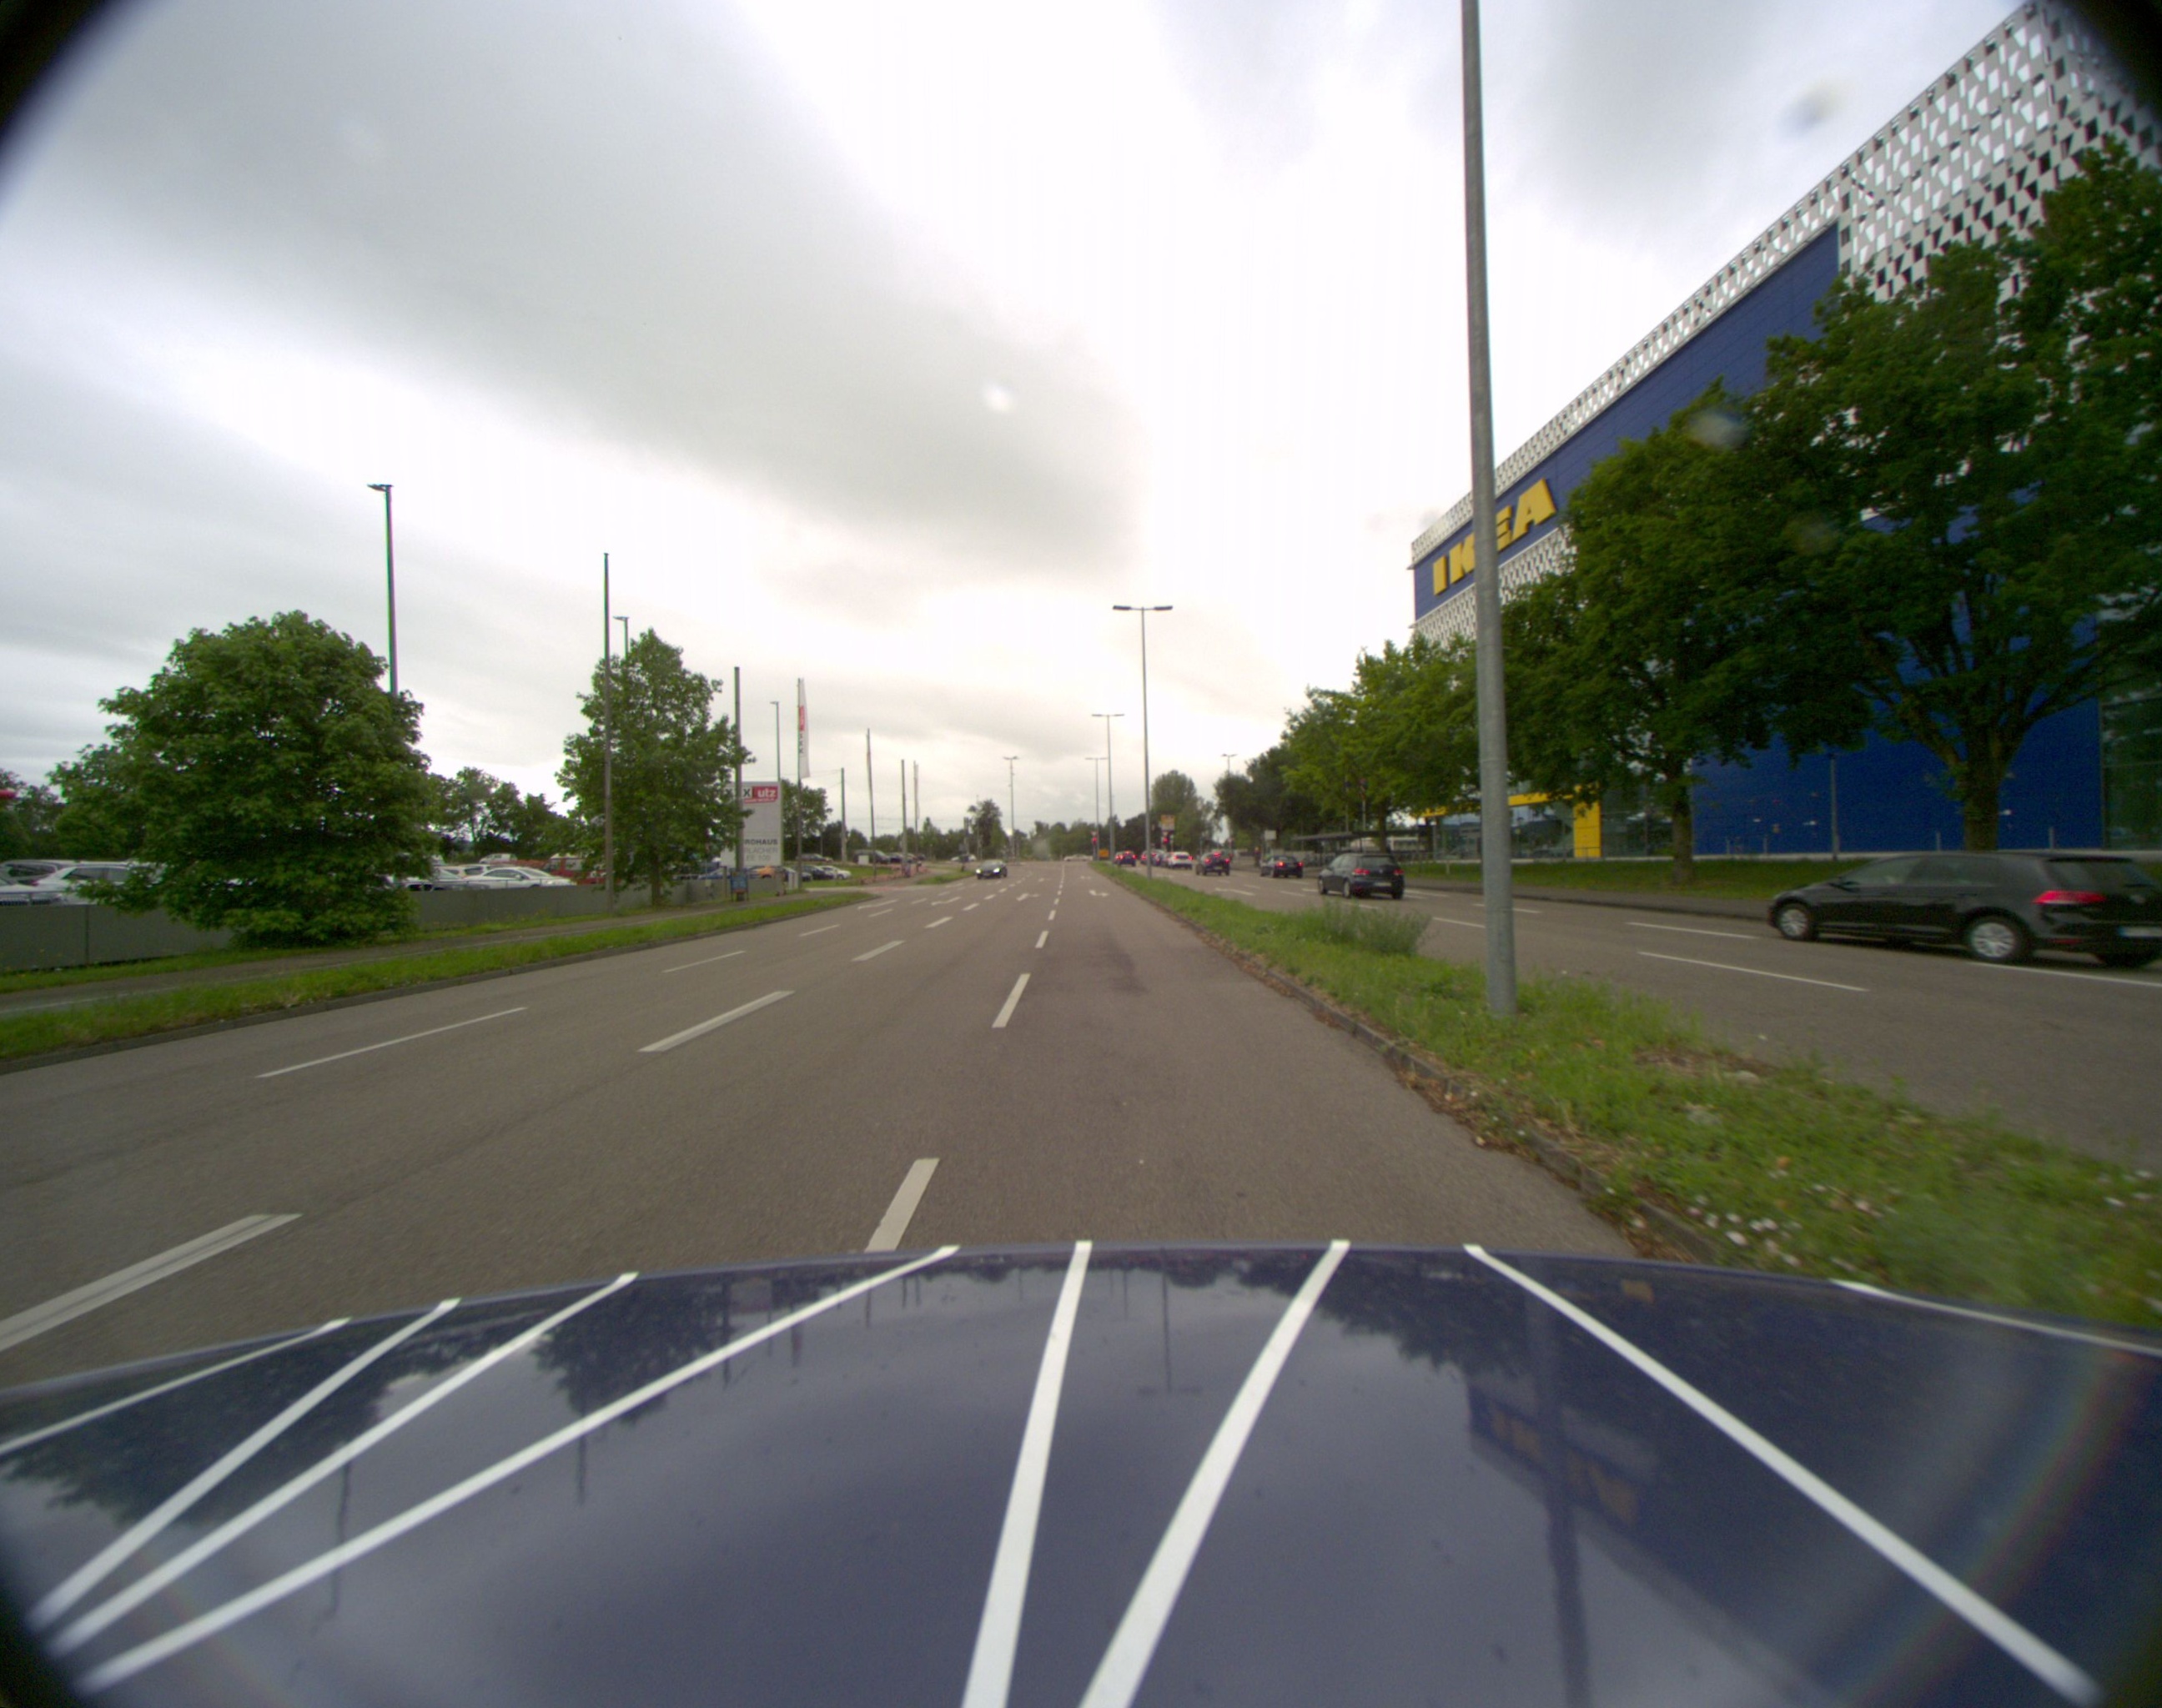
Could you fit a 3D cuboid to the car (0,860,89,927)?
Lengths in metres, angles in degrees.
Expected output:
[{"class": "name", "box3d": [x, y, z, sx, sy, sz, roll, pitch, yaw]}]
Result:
[{"class": "car", "box3d": [-23.591, 0.852, 15.539, 4.163, 1.342, 1.810, -2, -2, -1]}]

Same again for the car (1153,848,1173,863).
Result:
[{"class": "car", "box3d": [8.629, 0.149, 80.249, 1.607, 1.436, 4.142, 1, 1, -1]}]

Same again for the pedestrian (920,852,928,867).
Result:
[{"class": "pedestrian", "box3d": [-17.052, 0.624, 82.580, 0.717, 1.589, 0.782, -2, 3, -14]}]

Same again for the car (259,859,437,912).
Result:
[{"class": "car", "box3d": [-23.638, 1.009, 24.595, 4.064, 1.531, 1.764, -2, -1, 1]}]

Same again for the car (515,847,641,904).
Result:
[{"class": "car", "box3d": [-24.637, 1.056, 37.365, 4.734, 2.563, 2.171, -2, -1, 1]}]

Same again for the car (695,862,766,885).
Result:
[{"class": "car", "box3d": [-24.040, 1.330, 52.247, 3.997, 1.447, 1.814, -1, 1, 1]}]

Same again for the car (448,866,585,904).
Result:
[{"class": "car", "box3d": [-23.980, 1.305, 32.414, 4.385, 1.452, 1.961, -2, -2, 1]}]

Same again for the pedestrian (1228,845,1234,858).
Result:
[{"class": "pedestrian", "box3d": [19.057, -0.319, 96.552, 0.635, 1.633, 0.809, -1, 3, -3]}]

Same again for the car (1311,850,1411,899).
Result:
[{"class": "car", "box3d": [9.147, 0.608, 25.173, 1.784, 1.447, 4.181, -1, 1, 0]}]

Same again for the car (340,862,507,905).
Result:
[{"class": "car", "box3d": [-23.814, 1.062, 27.636, 4.476, 1.410, 1.868, -2, -2, 1]}]

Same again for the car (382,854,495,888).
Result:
[{"class": "car", "box3d": [-33.764, 0.910, 39.994, 4.422, 1.574, 1.835, -2, -1, 1]}]

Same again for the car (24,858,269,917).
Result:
[{"class": "car", "box3d": [-23.910, 0.854, 19.564, 4.065, 1.342, 1.764, -2, -2, -1]}]

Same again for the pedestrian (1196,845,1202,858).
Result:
[{"class": "pedestrian", "box3d": [16.834, -0.390, 108.602, 0.664, 1.756, 0.686, 2, 4, -4]}]

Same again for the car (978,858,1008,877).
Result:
[{"class": "car", "box3d": [-6.935, 1.051, 60.287, 1.999, 1.383, 4.342, -1, 1, -2]}]

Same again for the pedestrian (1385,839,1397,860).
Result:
[{"class": "pedestrian", "box3d": [26.051, -0.408, 63.835, 0.679, 1.735, 0.808, -2, 0, -1]}]

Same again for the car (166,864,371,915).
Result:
[{"class": "car", "box3d": [-24.044, 1.029, 22.613, 4.065, 1.342, 1.835, -2, -2, -1]}]

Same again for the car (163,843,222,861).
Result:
[{"class": "car", "box3d": [-140.924, -0.324, 120.544, 5.898, 2.610, 2.664, 0, -1, -6]}]

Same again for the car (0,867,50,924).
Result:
[{"class": "car", "box3d": [-33.732, 1.293, 22.437, 4.182, 1.654, 1.833, -2, 1, 2]}]

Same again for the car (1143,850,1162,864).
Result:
[{"class": "car", "box3d": [8.115, 0.323, 86.740, 1.666, 1.494, 4.064, 2, 0, -1]}]

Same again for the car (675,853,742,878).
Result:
[{"class": "car", "box3d": [-34.122, 1.057, 69.664, 5.046, 2.153, 2.122, -1, 1, 4]}]

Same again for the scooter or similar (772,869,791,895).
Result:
[{"class": "scooter or similar", "box3d": [-14.129, 1.321, 35.834, 0.371, 1.184, 1.248, -1, 0, 0]}]

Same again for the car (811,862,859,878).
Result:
[{"class": "car", "box3d": [-24.318, 1.565, 75.307, 4.118, 1.437, 1.876, -2, -2, -2]}]

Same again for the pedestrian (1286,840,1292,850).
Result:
[{"class": "pedestrian", "box3d": [34.280, -1.496, 125.207, 0.586, 1.731, 0.788, -2, -1, 1]}]

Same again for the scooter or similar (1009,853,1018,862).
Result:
[{"class": "scooter or similar", "box3d": [-9.197, 0.467, 103.064, 1.114, 1.249, 0.321, 0, 3, 11]}]

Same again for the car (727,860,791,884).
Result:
[{"class": "car", "box3d": [-24.214, 1.350, 57.185, 3.996, 1.634, 1.815, -1, 1, 4]}]

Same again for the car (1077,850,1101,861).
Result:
[{"class": "car", "box3d": [1.335, 0.310, 133.605, 4.081, 1.723, 1.776, -1, -1, -5]}]

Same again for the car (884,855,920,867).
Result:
[{"class": "car", "box3d": [-24.195, 0.943, 102.730, 4.200, 1.455, 1.839, -2, 1, 12]}]

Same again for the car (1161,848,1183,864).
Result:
[{"class": "car", "box3d": [8.823, 0.156, 73.965, 1.607, 1.489, 4.036, 1, 1, -1]}]

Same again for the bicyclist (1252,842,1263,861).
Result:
[{"class": "bicyclist", "box3d": [15.379, -0.238, 66.093, 0.642, 1.568, 1.000, -3, 1, -1]}]

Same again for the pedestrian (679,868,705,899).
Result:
[{"class": "pedestrian", "box3d": [-21.591, 1.631, 42.177, 0.942, 1.709, 0.885, -2, -1, -2]}]

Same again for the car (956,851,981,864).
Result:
[{"class": "car", "box3d": [-19.455, 0.569, 131.530, 4.001, 2.002, 1.946, -2, 1, -13]}]

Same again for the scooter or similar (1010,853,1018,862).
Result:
[{"class": "scooter or similar", "box3d": [-9.169, 0.440, 103.660, 1.016, 1.249, 0.465, 0, 2, 13]}]

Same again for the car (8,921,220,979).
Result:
[{"class": "car", "box3d": [-28.718, 2.833, 22.662, 4.064, 1.342, 1.764, -2, 1, 1]}]
